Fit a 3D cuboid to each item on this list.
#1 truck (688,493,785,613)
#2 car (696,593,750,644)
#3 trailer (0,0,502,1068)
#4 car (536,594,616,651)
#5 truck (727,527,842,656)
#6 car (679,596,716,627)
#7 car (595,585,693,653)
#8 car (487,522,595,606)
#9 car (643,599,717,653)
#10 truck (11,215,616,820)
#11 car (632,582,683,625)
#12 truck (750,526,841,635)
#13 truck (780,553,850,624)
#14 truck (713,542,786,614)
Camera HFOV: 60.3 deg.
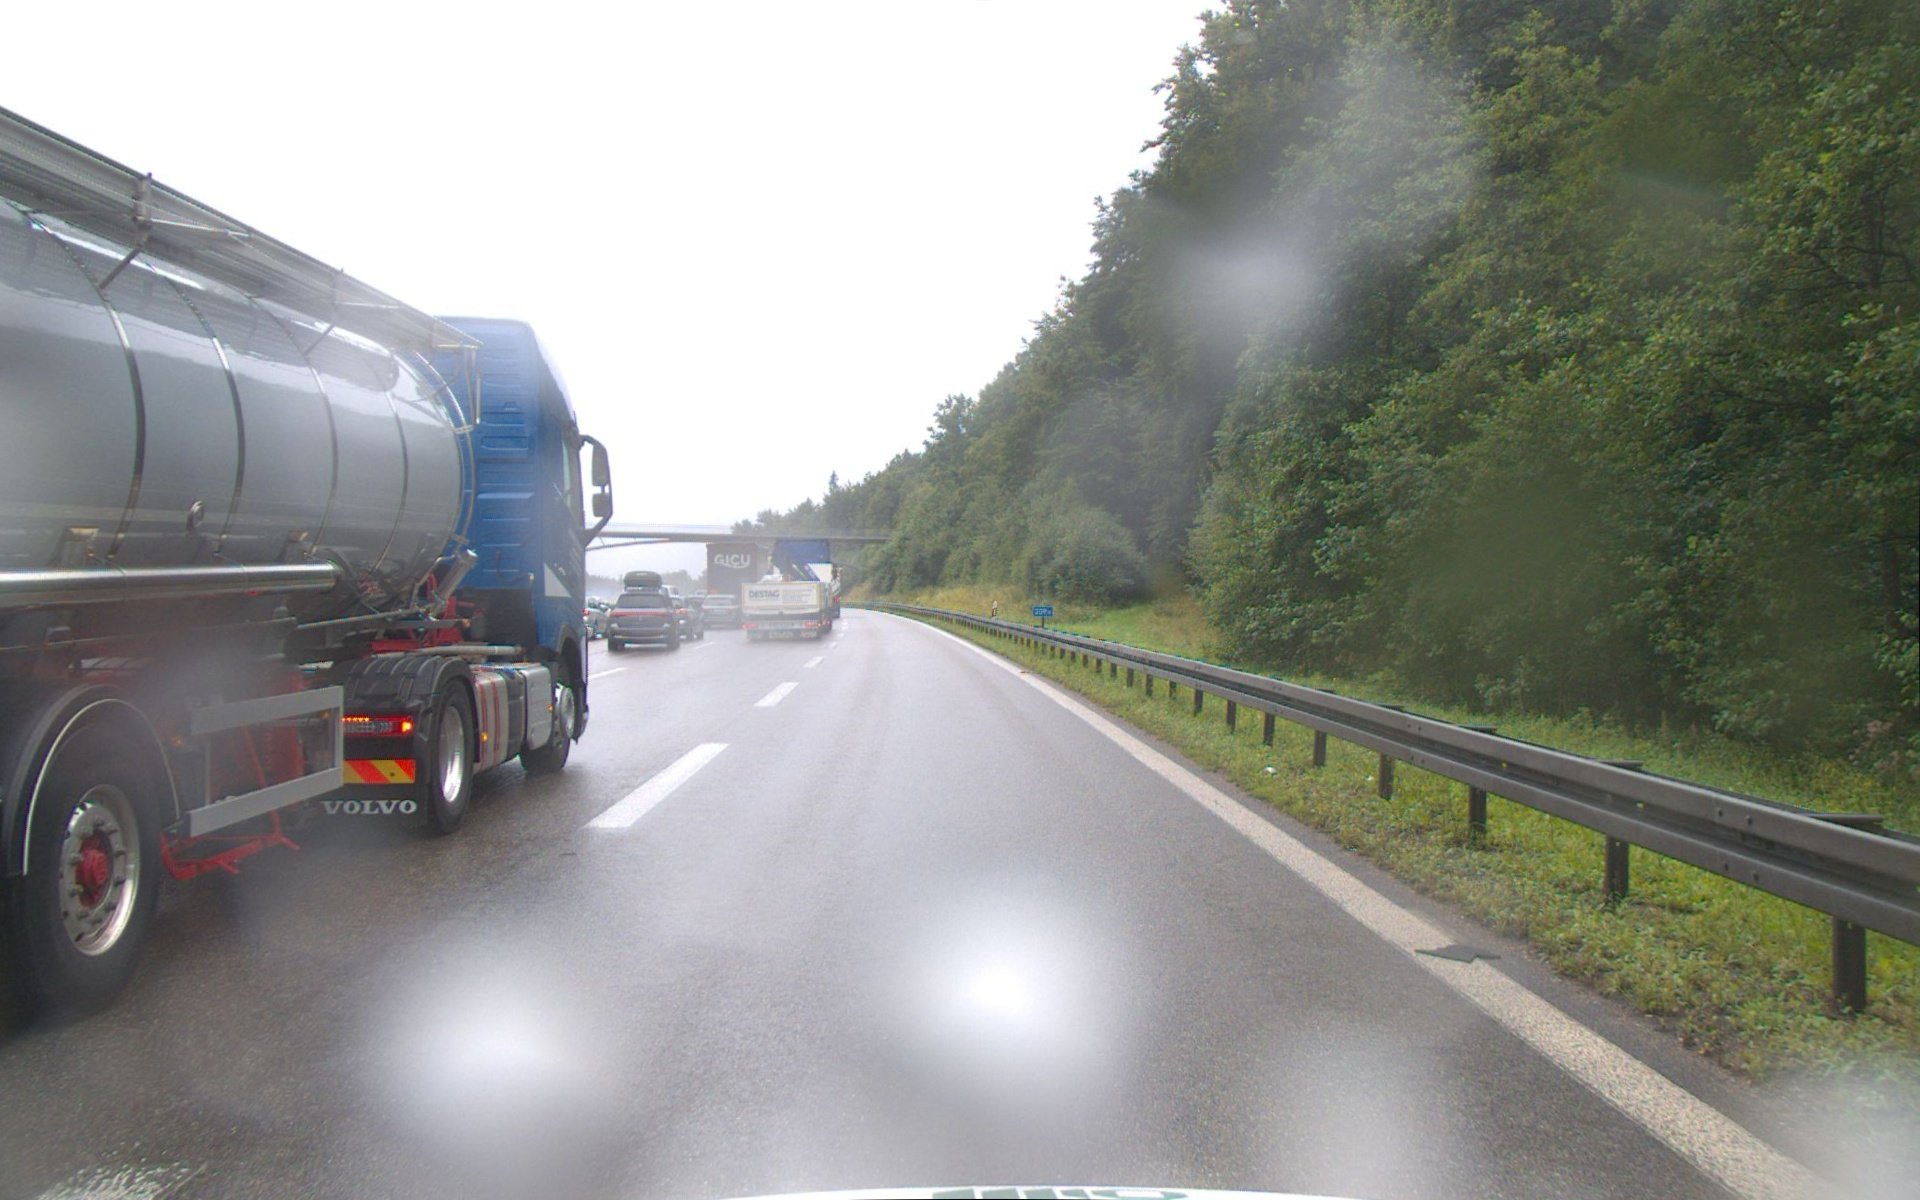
[{"bbox_3d":[-11.689,-2.315,87.720,3.679,5.595,10.168,4,-2,-1],"label":"truck"},{"bbox_3d":[-10.350,0.827,72.405,1.757,2.049,3.998,4,-2,-1],"label":"car"},{"bbox_3d":[-4.345,-0.267,6.075,2.816,3.346,10.074,0,0,-2],"label":"trailer"},{"bbox_3d":[-13.015,0.792,56.253,1.750,1.777,3.999,4,-2,-1],"label":"car"},{"bbox_3d":[-6.096,-0.309,59.415,3.528,4.177,11.552,0,0,-3],"label":"truck"},{"bbox_3d":[-16.100,0.728,101.571,1.815,1.691,3.996,4,-2,-4],"label":"car"},{"bbox_3d":[-8.640,0.542,45.588,1.954,1.665,3.998,4,-2,-2],"label":"car"},{"bbox_3d":[-10.867,-0.893,43.118,1.761,1.870,3.998,4,-2,-1],"label":"car"},{"bbox_3d":[-9.199,0.831,54.570,1.899,1.691,3.998,0,0,-2],"label":"car"},{"bbox_3d":[-4.555,-0.523,12.861,2.819,3.758,5.054,0,0,-2],"label":"truck"},{"bbox_3d":[-14.700,0.200,80.639,1.807,1.892,3.997,4,-2,-3],"label":"car"},{"bbox_3d":[-7.315,-0.704,74.985,3.438,4.342,10.594,4,-2,-4],"label":"truck"},{"bbox_3d":[-9.318,-0.618,107.474,3.680,4.040,11.053,4,-2,-2],"label":"truck"},{"bbox_3d":[-13.380,-1.271,105.983,3.504,4.167,10.874,1,-2,-2],"label":"truck"}]
